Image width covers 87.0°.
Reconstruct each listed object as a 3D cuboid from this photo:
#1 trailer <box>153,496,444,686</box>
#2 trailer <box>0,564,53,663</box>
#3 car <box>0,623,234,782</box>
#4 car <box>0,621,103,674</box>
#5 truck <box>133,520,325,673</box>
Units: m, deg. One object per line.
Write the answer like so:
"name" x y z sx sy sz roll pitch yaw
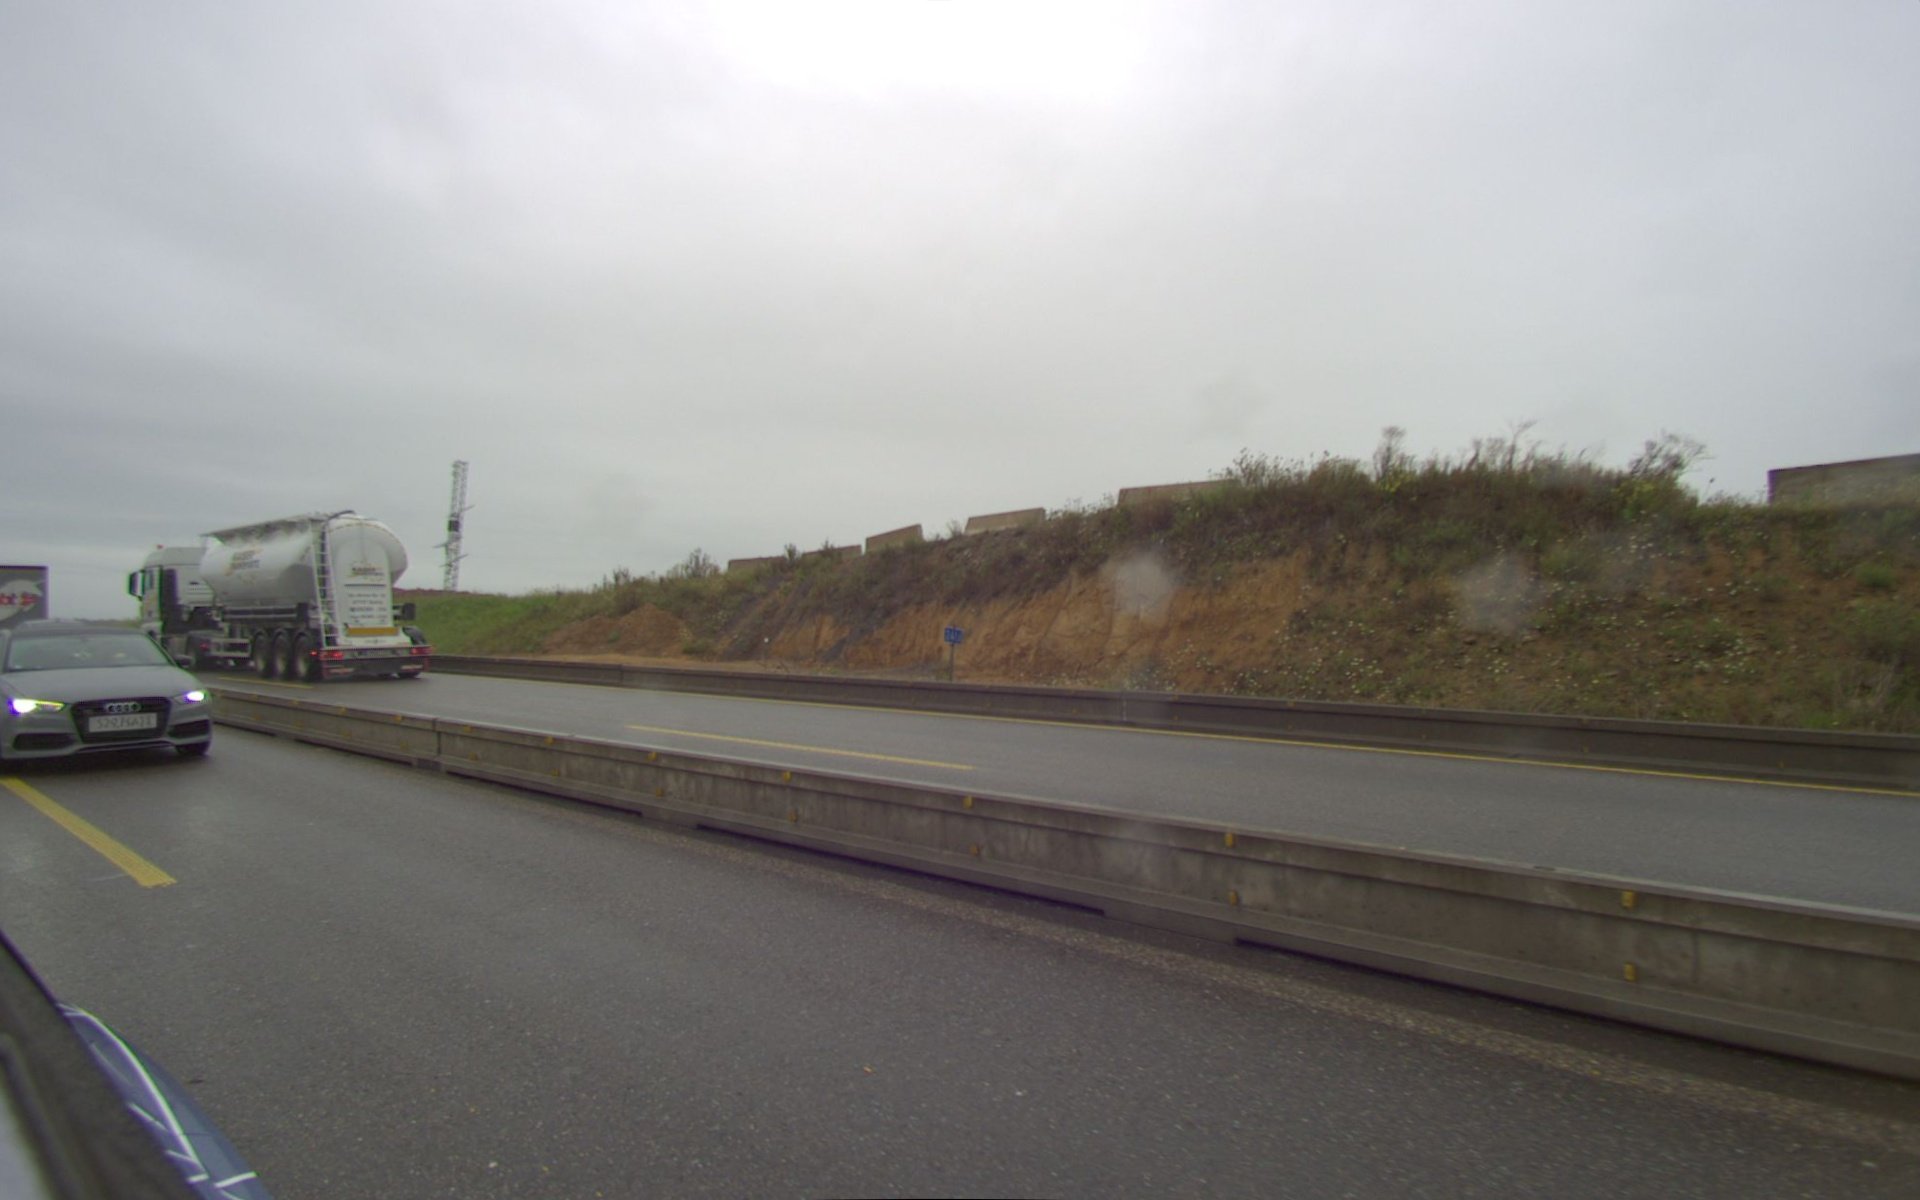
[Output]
"trailer" -17.532 -0.113 26.270 11.529 3.994 3.222 -1 -1 41
"trailer" -49.199 0.799 50.402 15.675 4.455 2.967 -2 -3 37
"car" -9.652 0.959 11.037 4.083 1.393 1.783 -1 -1 39
"car" -27.077 1.353 29.923 4.946 1.450 1.785 -1 -3 40
"truck" -21.399 -0.037 29.535 5.876 3.985 3.198 -1 -1 40
